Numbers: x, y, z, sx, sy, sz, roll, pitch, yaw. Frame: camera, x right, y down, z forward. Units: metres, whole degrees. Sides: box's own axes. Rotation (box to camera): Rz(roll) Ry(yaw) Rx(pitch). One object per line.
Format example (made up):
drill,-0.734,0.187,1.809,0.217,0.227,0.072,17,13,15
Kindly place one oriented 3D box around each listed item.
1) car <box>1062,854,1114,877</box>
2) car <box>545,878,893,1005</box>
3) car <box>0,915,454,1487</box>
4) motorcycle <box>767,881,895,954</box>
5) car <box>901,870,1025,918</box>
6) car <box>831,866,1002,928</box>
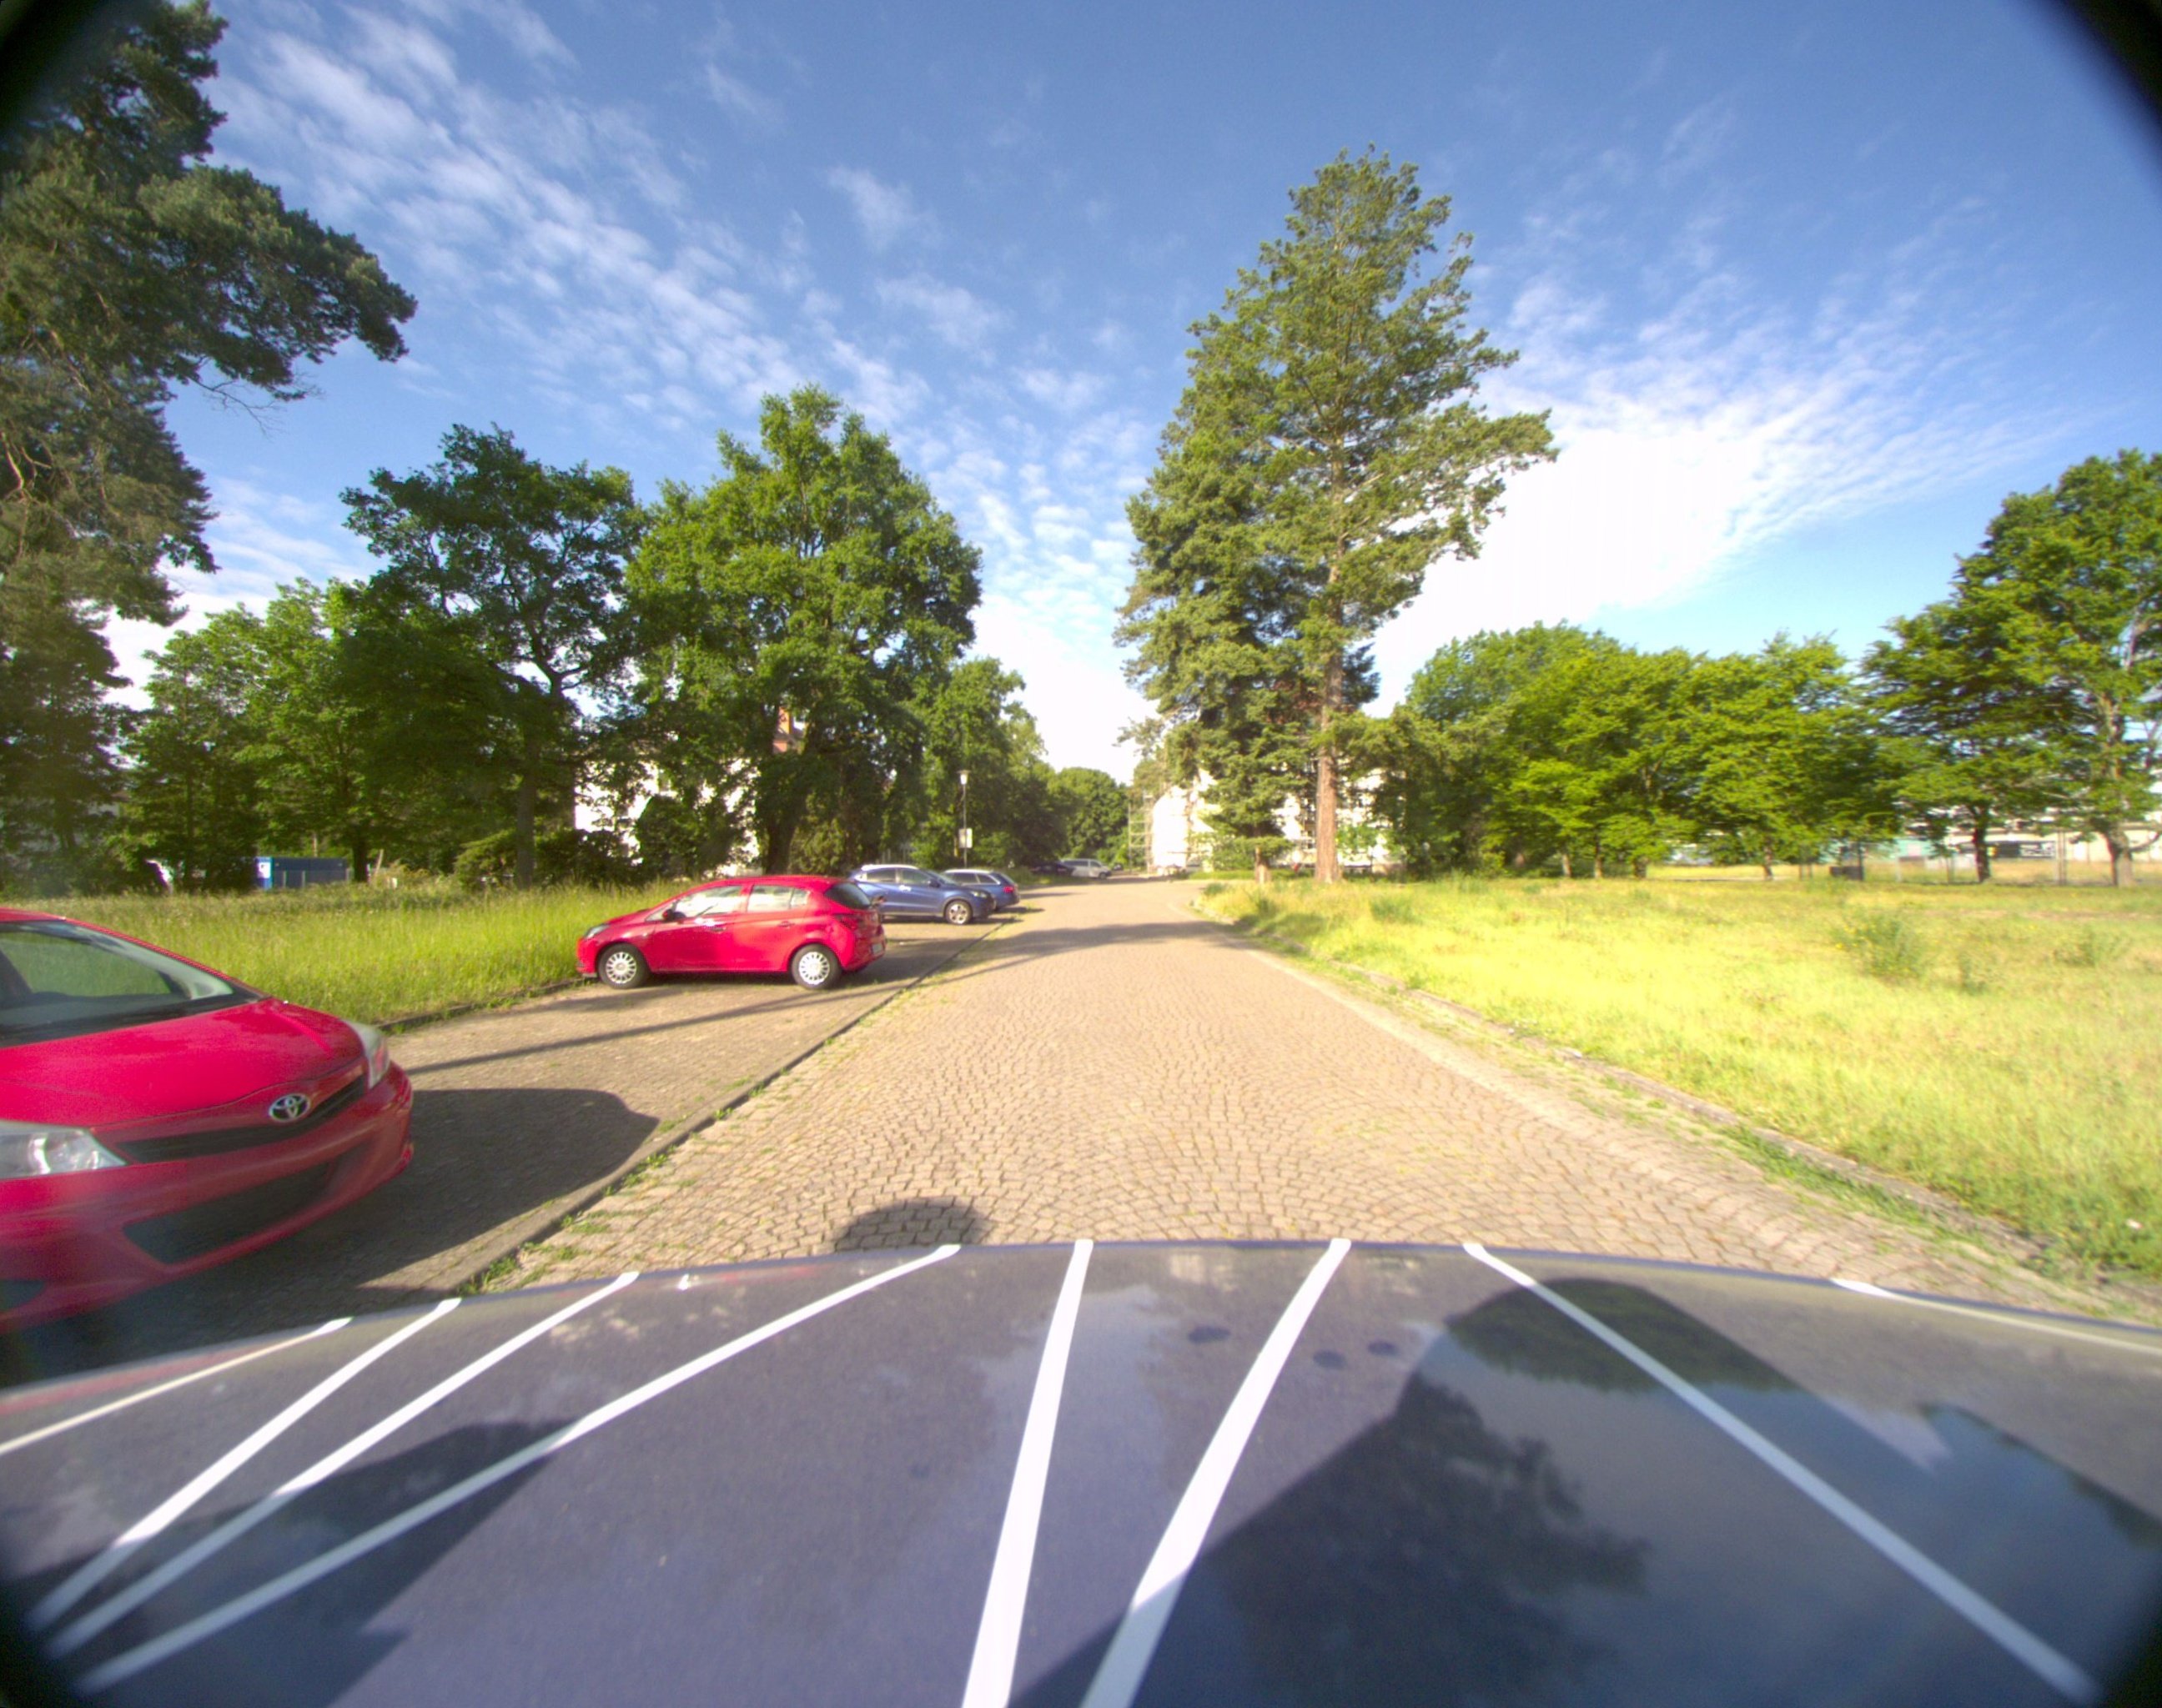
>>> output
car,0.644,1.108,74.211,4.993,2.123,2.165,-1,0,-1
car,-4.790,1.142,10.420,3.997,1.486,1.540,-1,0,1
car,-5.004,1.063,2.903,3.834,1.529,1.703,0,0,1
motorcycle,-4.924,1.239,15.063,2.235,1.345,0.879,-1,0,3
car,-3.894,1.309,25.464,3.809,1.457,1.747,-1,0,2
car,-4.393,1.136,20.704,4.273,1.589,1.651,0,0,1
